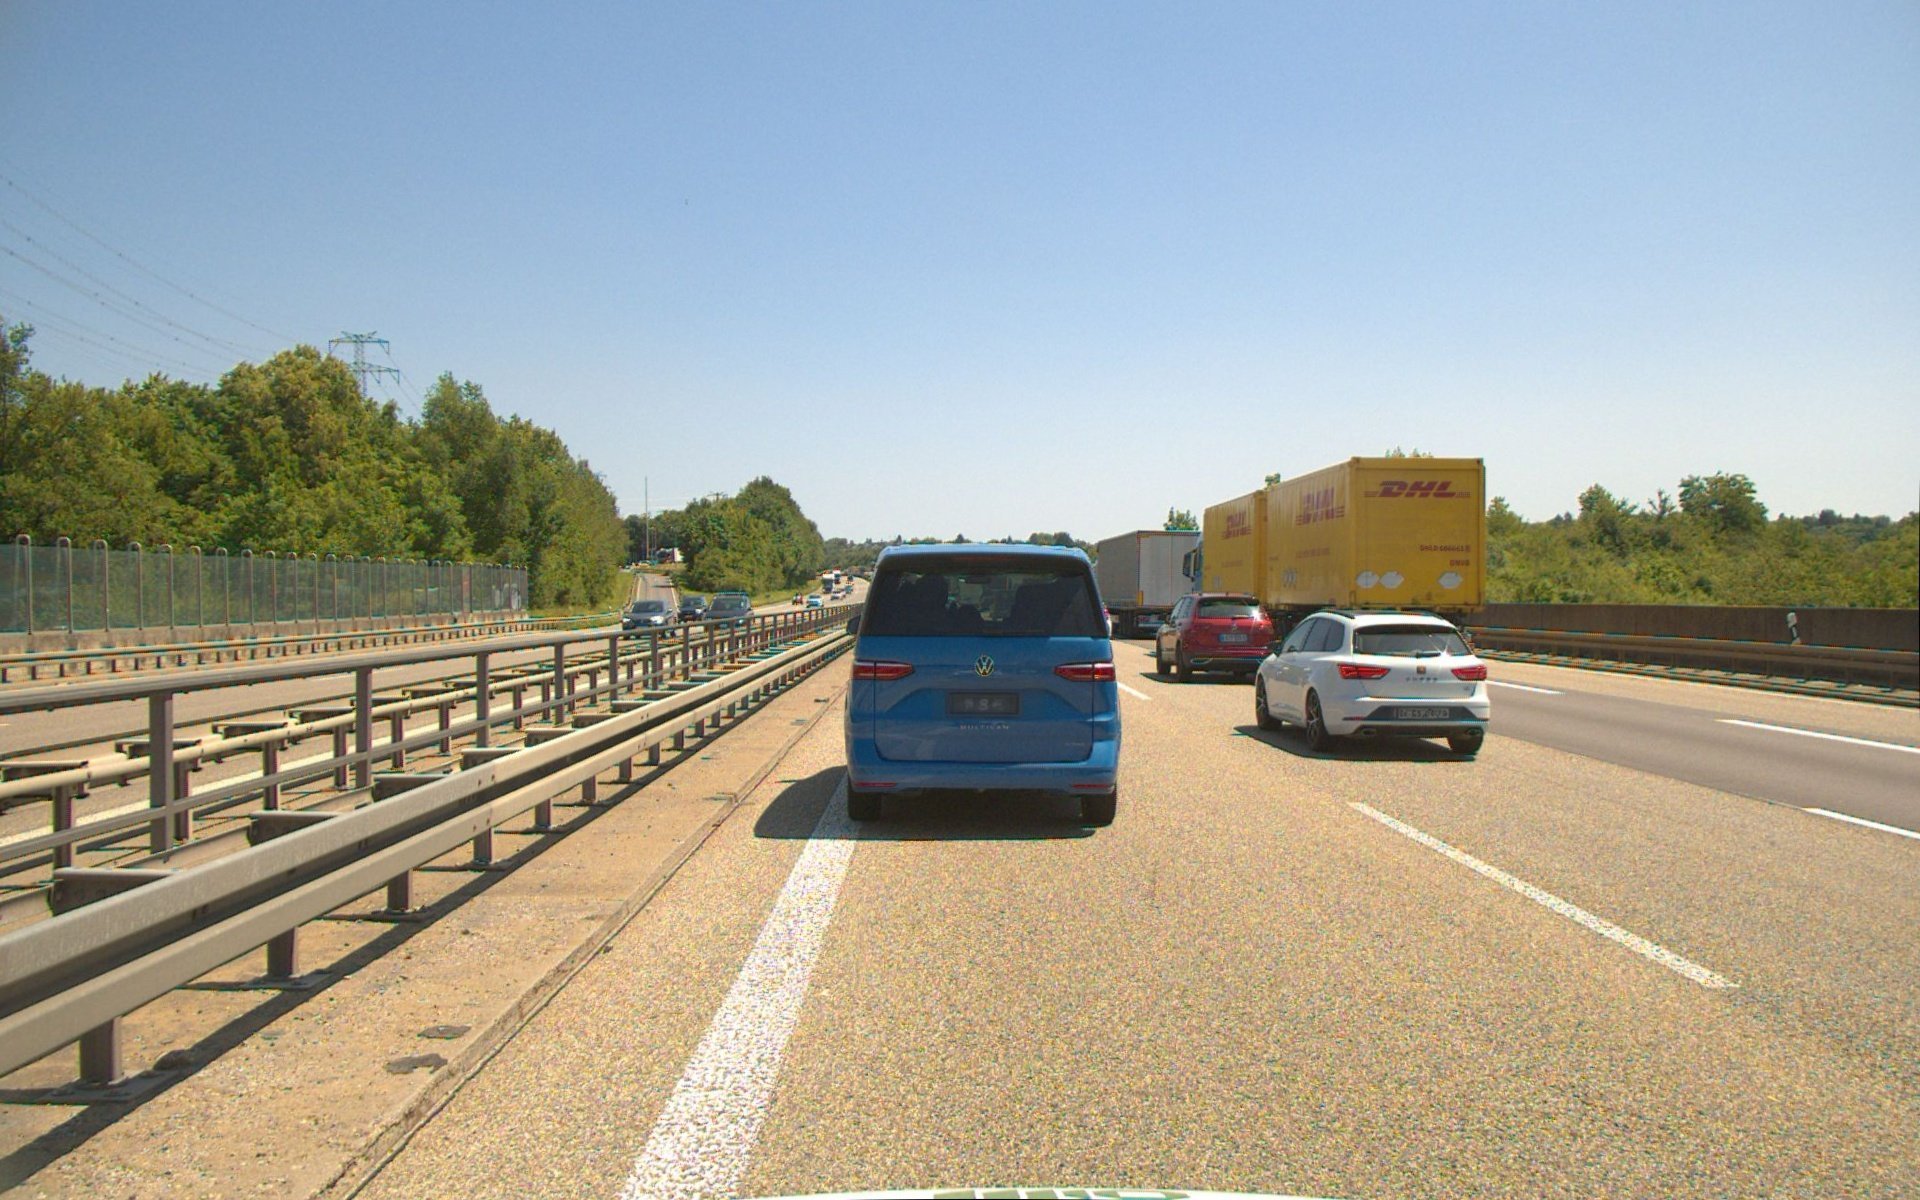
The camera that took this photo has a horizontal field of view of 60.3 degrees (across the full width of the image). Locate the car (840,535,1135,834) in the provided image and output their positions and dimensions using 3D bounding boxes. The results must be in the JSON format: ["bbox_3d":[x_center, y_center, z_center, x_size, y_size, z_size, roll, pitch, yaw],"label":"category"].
[{"bbox_3d":[0.153,0.530,12.400,1.844,1.869,3.999,0,0,-1],"label":"car"}]

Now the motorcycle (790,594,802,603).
[{"bbox_3d":[-20.904,-0.231,210.968,1.338,1.118,2.575,-3,0,-1],"label":"motorcycle"}]

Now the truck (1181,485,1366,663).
[{"bbox_3d":[8.047,-0.568,43.908,2.667,4.125,10.333,1,-1,-1],"label":"truck"}]

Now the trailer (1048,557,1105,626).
[{"bbox_3d":[6.839,-0.423,98.651,2.331,3.809,11.184,1,-1,-1],"label":"trailer"}]

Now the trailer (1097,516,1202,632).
[{"bbox_3d":[7.456,-0.914,66.597,2.699,4.219,11.309,1,-1,-1],"label":"trailer"}]

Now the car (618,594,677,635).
[{"bbox_3d":[-12.981,0.610,68.889,1.719,1.574,3.999,-2,-1,-1],"label":"car"}]

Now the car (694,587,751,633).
[{"bbox_3d":[-9.462,0.387,66.081,1.719,1.751,4.100,-1,0,-1],"label":"car"}]

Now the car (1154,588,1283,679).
[{"bbox_3d":[4.894,0.604,31.764,1.813,1.636,3.999,0,0,-1],"label":"car"}]

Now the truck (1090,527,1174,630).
[{"bbox_3d":[7.373,-0.865,71.600,2.712,4.167,6.982,1,-1,-1],"label":"truck"}]

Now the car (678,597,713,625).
[{"bbox_3d":[-17.893,0.697,112.048,1.746,1.816,4.301,-1,0,-1],"label":"car"}]

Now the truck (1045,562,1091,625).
[{"bbox_3d":[6.766,-0.356,104.275,2.320,3.787,6.031,1,-1,-1],"label":"truck"}]

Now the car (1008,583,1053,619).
[{"bbox_3d":[3.274,0.037,77.362,1.681,1.614,3.818,-1,0,-4],"label":"car"}]

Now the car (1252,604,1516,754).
[{"bbox_3d":[4.445,0.768,17.982,1.745,1.411,4.187,0,0,-1],"label":"car"}]

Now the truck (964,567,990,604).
[{"bbox_3d":[2.260,-1.995,227.692,2.777,4.971,13.214,-1,0,-2],"label":"truck"}]

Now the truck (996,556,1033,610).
[{"bbox_3d":[5.329,-1.587,164.388,2.777,5.128,11.140,1,-1,-2],"label":"truck"}]

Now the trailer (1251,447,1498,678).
[{"bbox_3d":[8.256,-0.636,34.256,2.647,4.094,8.927,1,-1,-1],"label":"trailer"}]

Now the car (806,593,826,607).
[{"bbox_3d":[-15.869,-0.009,182.778,1.871,1.418,4.164,-2,-1,-1],"label":"car"}]

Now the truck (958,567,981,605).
[{"bbox_3d":[1.436,-2.077,248.303,2.777,5.467,12.549,1,-1,-2],"label":"truck"}]

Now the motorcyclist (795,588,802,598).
[{"bbox_3d":[-22.700,-0.997,232.929,0.880,1.466,1.082,-1,1,-1],"label":"motorcyclist"}]

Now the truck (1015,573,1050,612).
[{"bbox_3d":[6.371,-0.613,146.836,2.308,3.275,9.736,1,-1,-2],"label":"truck"}]

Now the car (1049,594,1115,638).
[{"bbox_3d":[4.141,0.538,56.638,1.801,1.438,3.998,0,0,-2],"label":"car"}]

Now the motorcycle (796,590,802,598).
[{"bbox_3d":[-22.663,-0.803,232.951,0.687,1.089,2.305,-1,1,-1],"label":"motorcycle"}]

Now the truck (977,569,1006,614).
[{"bbox_3d":[3.702,-0.911,198.300,2.777,5.128,11.811,1,-1,-2],"label":"truck"}]
